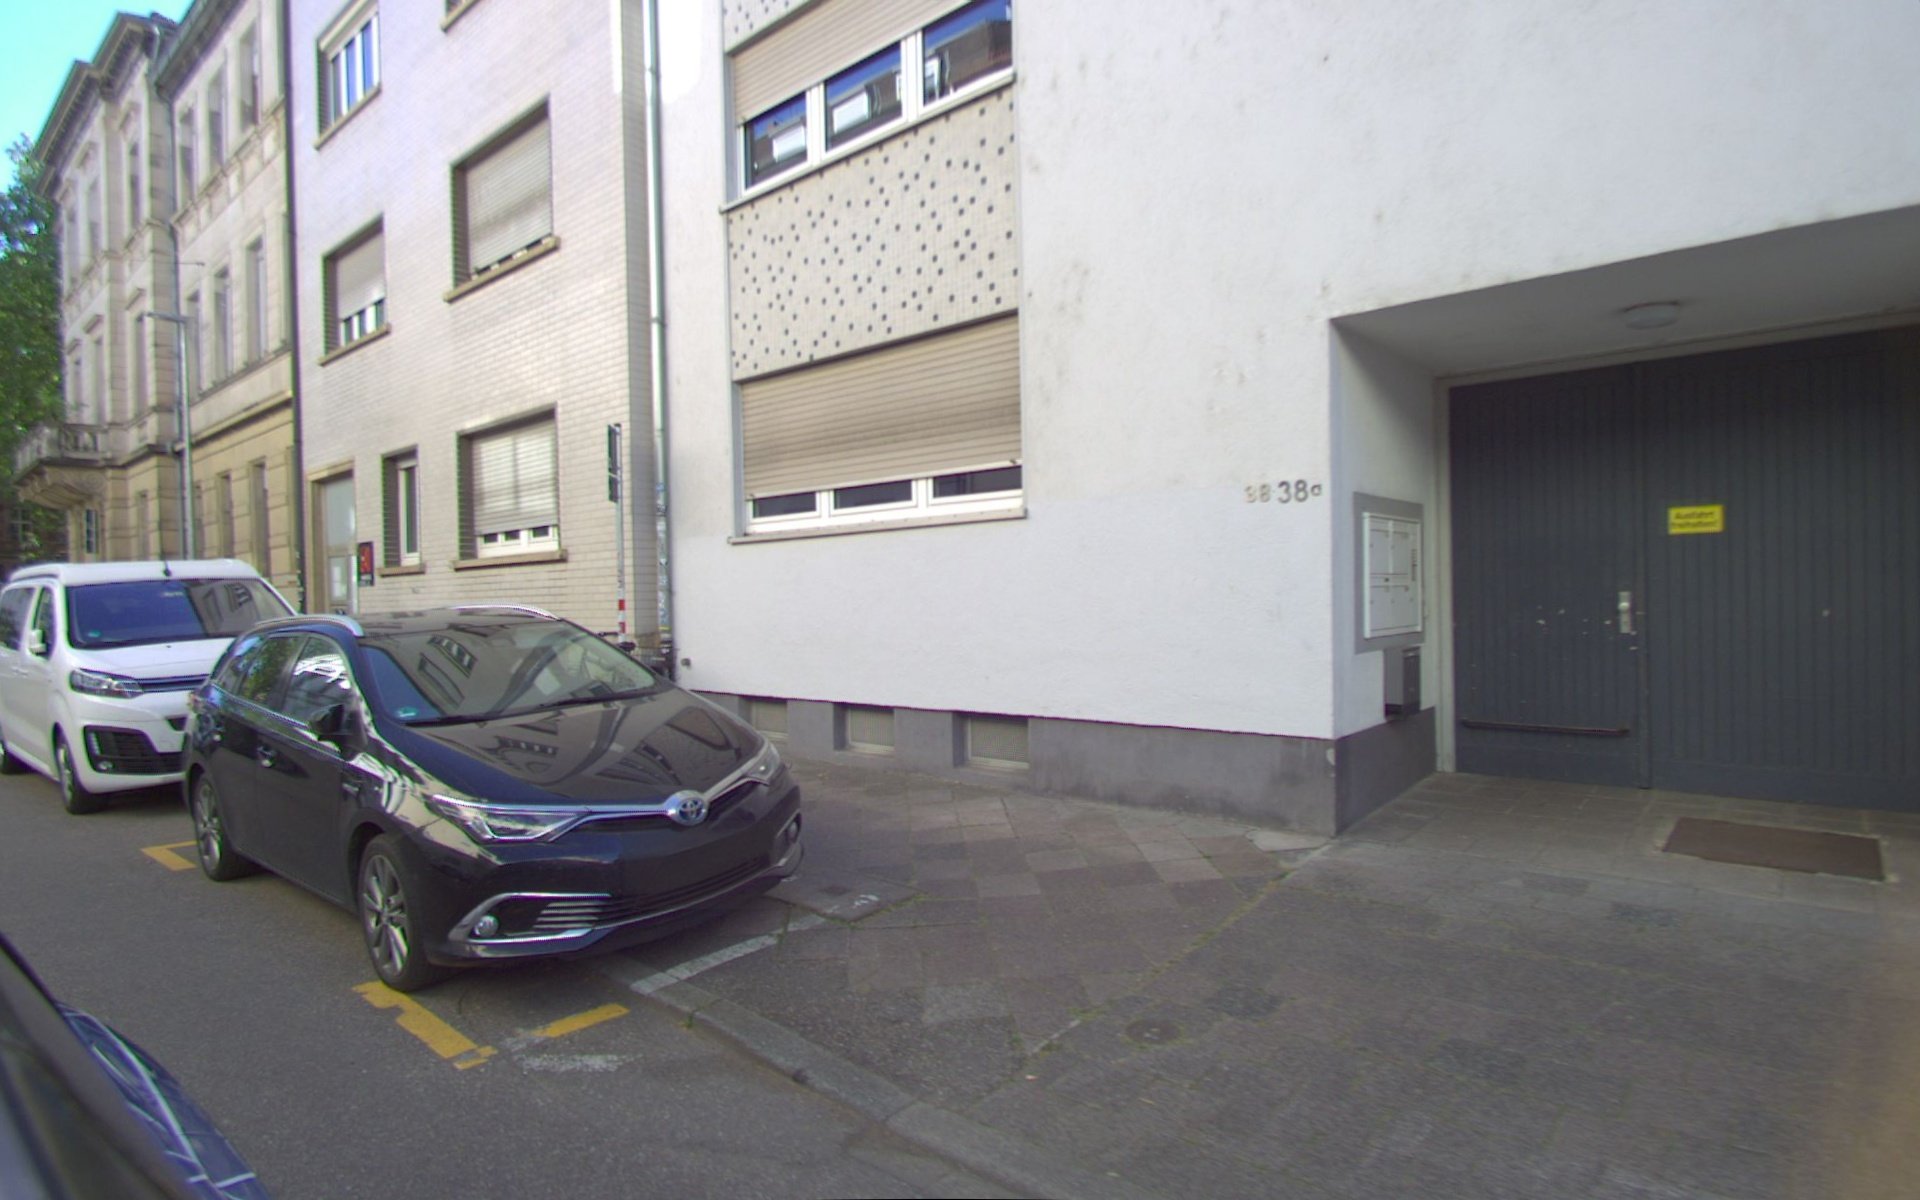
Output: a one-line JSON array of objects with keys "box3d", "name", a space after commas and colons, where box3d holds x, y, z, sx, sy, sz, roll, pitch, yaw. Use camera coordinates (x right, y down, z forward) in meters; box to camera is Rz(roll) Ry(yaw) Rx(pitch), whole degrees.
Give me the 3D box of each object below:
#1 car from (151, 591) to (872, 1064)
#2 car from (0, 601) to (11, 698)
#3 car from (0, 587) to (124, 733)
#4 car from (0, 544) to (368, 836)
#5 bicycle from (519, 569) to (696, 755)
[{"box3d": [-2.588, 0.745, 5.251, 4.298, 1.461, 1.689, -1, 1, 40], "name": "car"}, {"box3d": [-22.342, 1.074, 22.049, 4.541, 2.029, 2.001, -1, 0, 42], "name": "car"}, {"box3d": [-14.346, 0.876, 15.409, 4.088, 1.890, 1.727, -2, 3, 41], "name": "car"}, {"box3d": [-7.381, 0.635, 9.158, 4.777, 1.973, 1.876, -2, 2, 40], "name": "car"}, {"box3d": [-3.185, 0.515, 9.055, 1.798, 1.520, 0.552, -1, 2, 38], "name": "bicycle"}]
